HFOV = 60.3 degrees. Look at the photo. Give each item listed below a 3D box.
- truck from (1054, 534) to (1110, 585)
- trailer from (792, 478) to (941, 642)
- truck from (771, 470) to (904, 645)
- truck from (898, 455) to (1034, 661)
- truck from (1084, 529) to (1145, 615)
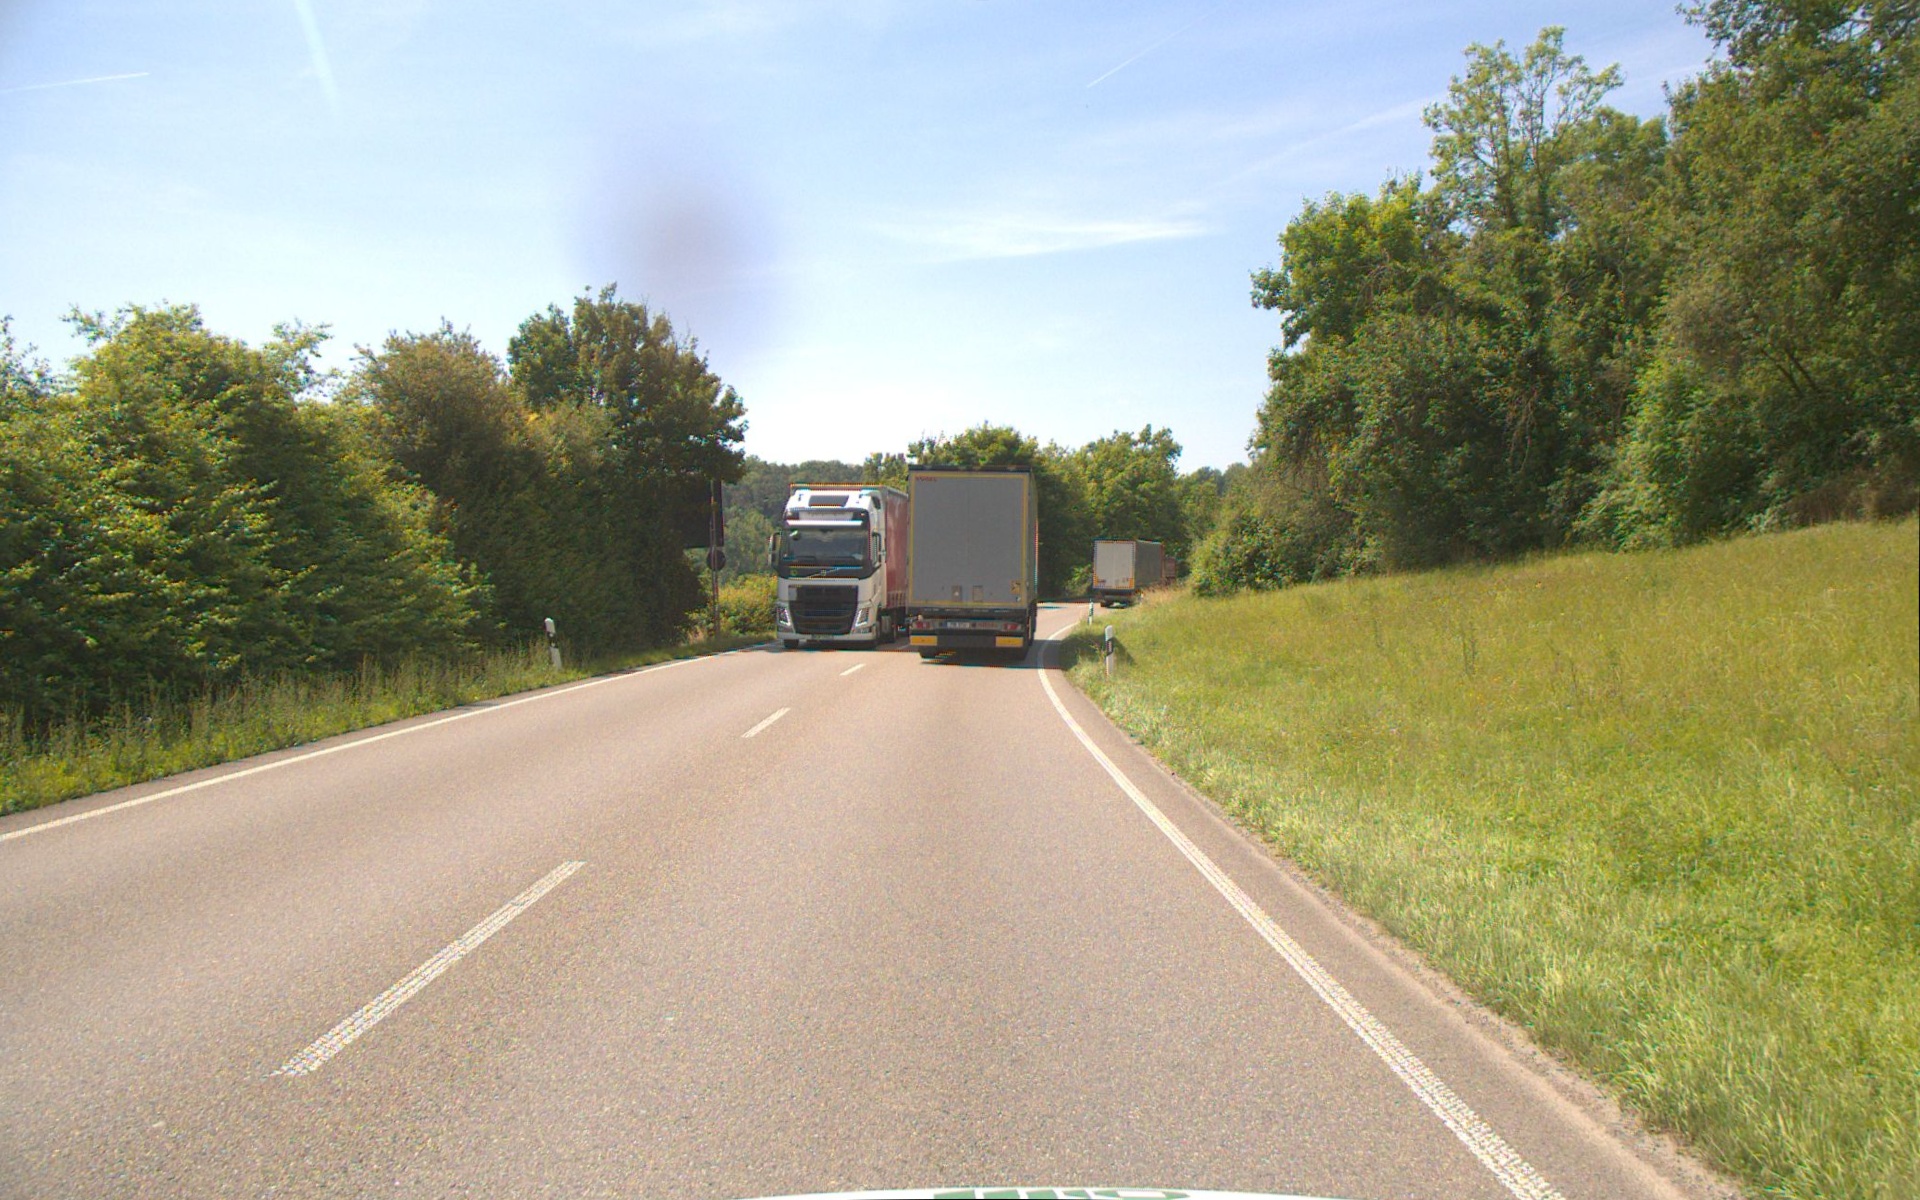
[{"bbox_3d":[9.216,-3.053,123.275,2.498,3.512,12.647,-2,1,11],"label":"truck"},{"bbox_3d":[-2.496,-1.098,49.477,2.514,4.179,13.671,1,1,5],"label":"trailer"},{"bbox_3d":[-3.057,-1.046,42.852,2.505,4.187,5.803,1,0,5],"label":"truck"},{"bbox_3d":[0.276,-0.871,41.100,2.744,4.140,15.327,0,0,1],"label":"truck"},{"bbox_3d":[10.024,-1.883,105.781,3.040,4.786,16.604,-5,1,7],"label":"truck"}]
